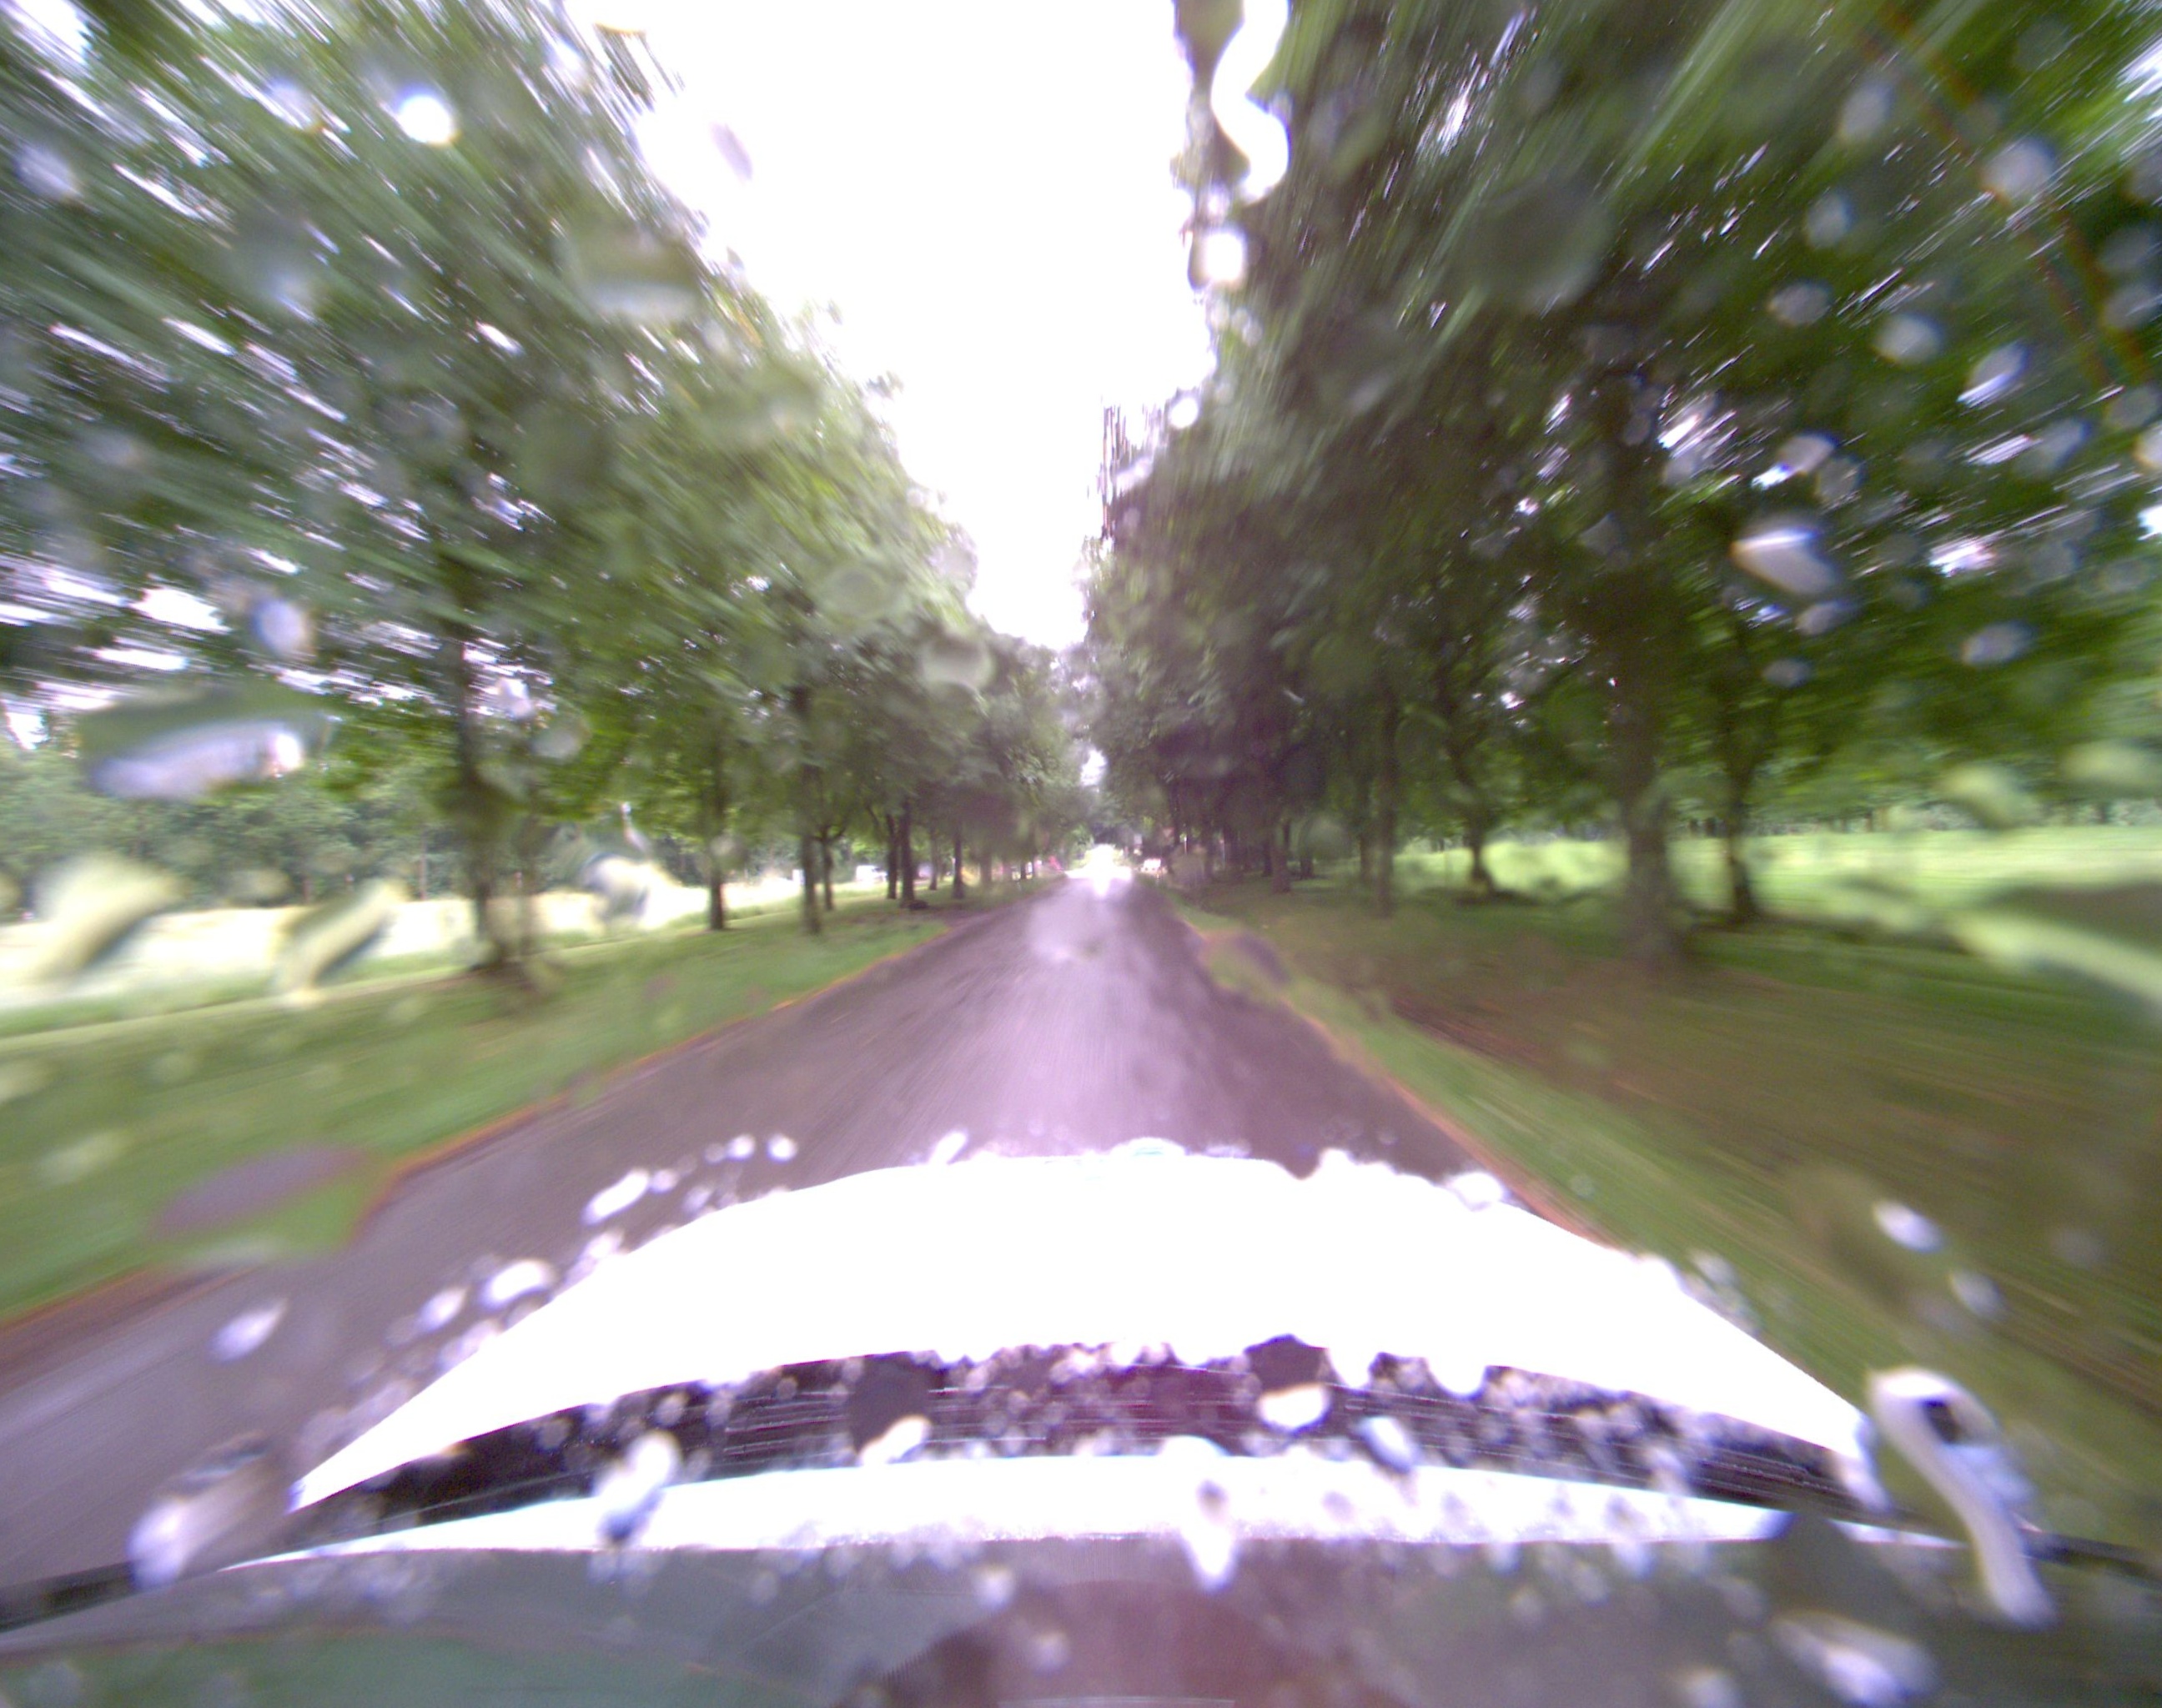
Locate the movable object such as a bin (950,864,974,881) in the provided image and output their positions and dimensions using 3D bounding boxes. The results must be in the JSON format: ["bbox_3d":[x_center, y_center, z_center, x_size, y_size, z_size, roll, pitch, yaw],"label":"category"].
[{"bbox_3d":[-24.226,3.791,166.260,4.654,3.294,3.900,-2,-1,-10],"label":"movable object such as a bin"}]

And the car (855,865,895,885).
[{"bbox_3d":[-28.387,2.910,112.076,5.907,2.408,2.407,-4,-4,43],"label":"car"}]

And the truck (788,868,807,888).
[{"bbox_3d":[-36.752,3.082,105.812,1.871,2.443,3.334,-2,-1,-13],"label":"truck"}]
